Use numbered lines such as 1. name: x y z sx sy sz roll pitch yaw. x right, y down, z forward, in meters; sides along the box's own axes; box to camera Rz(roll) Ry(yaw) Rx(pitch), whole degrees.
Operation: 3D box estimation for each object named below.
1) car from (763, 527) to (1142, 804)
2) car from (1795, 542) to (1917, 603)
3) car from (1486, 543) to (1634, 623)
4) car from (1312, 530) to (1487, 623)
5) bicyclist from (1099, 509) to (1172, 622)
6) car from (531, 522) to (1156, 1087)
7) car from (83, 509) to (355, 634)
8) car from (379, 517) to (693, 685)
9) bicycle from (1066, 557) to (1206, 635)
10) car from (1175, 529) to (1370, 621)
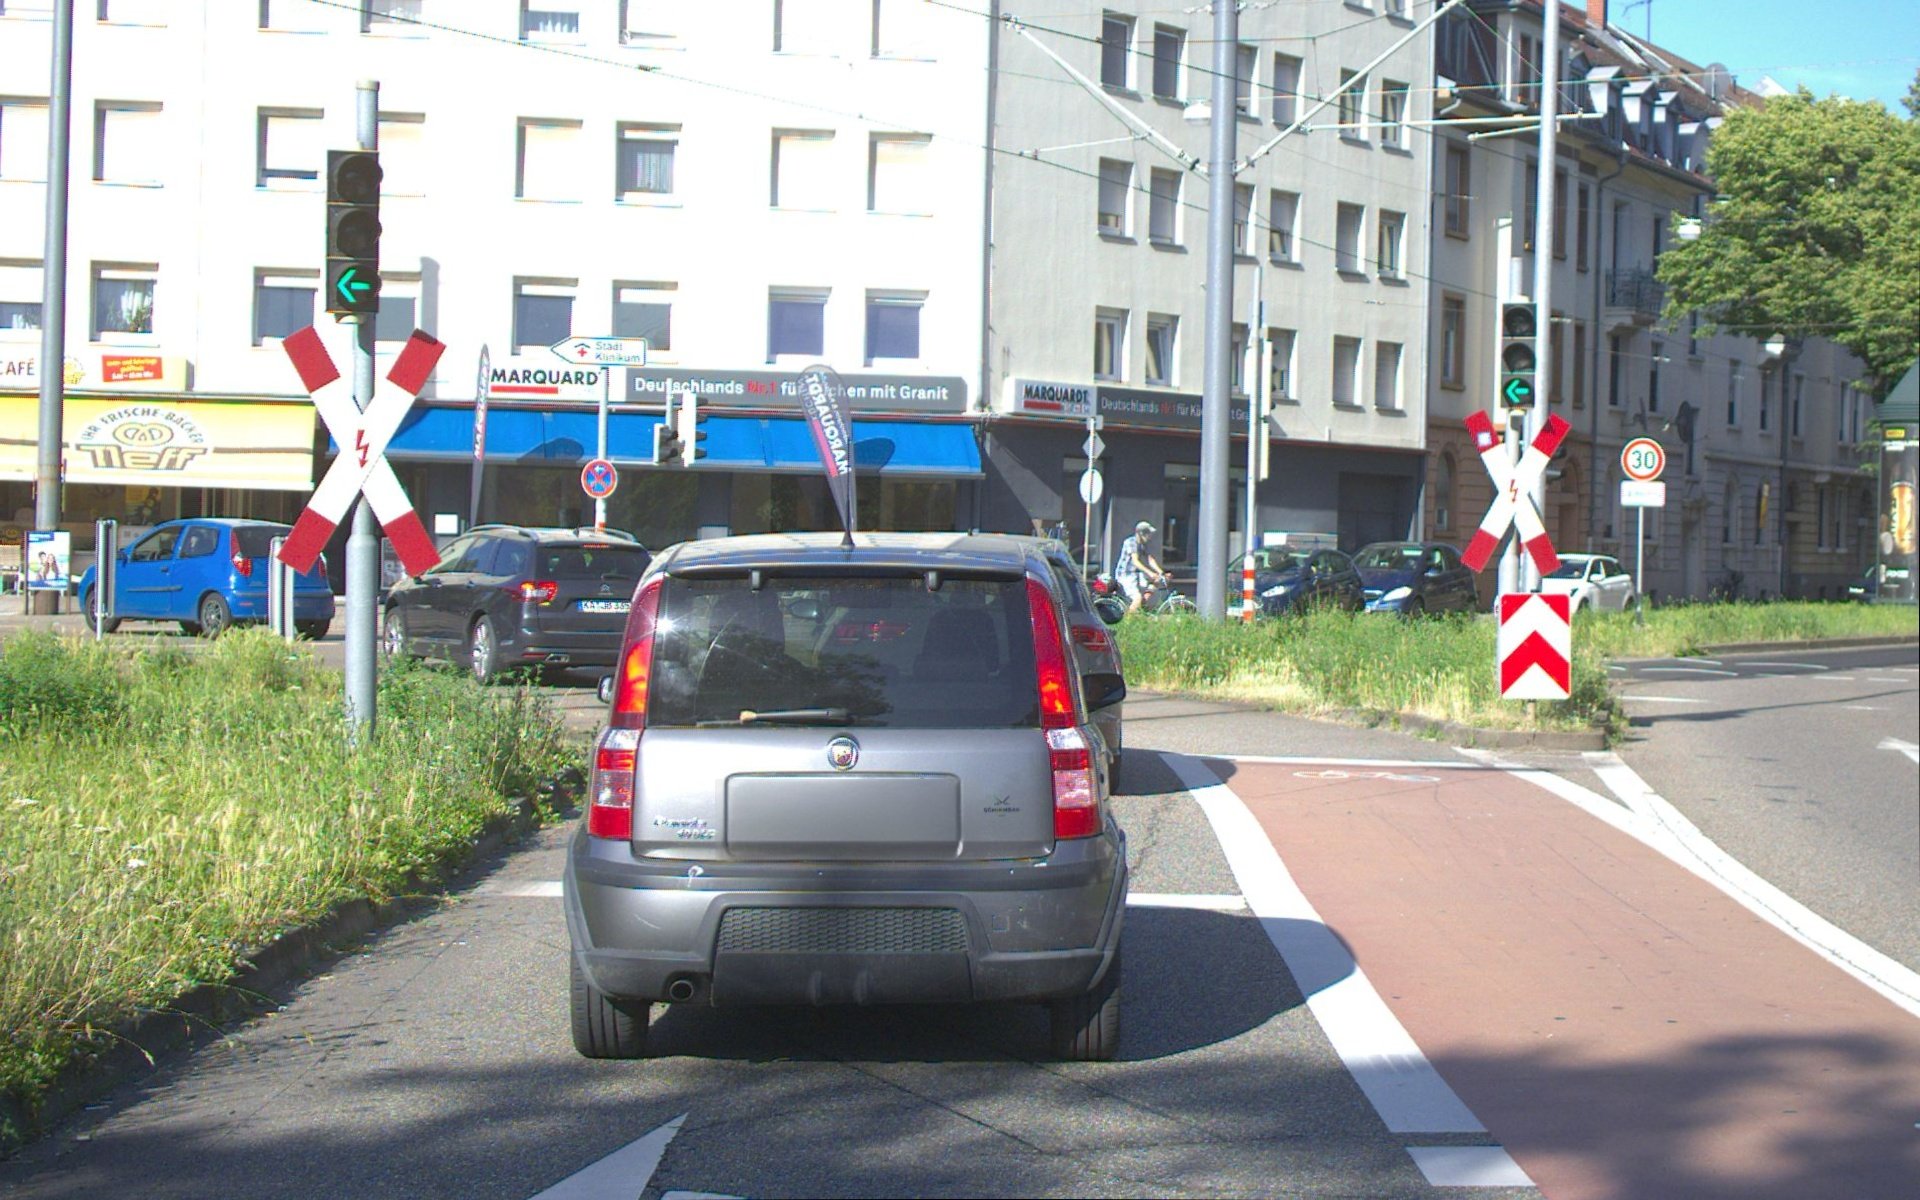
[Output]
1. car: -0.136 0.315 20.035 1.620 1.424 3.689 1 1 -9
2. car: 23.030 -0.698 88.311 1.997 1.468 3.993 2 1 30
3. car: 11.853 -0.341 67.768 1.793 1.477 3.526 2 1 29
4. car: 7.873 -0.423 61.350 1.793 1.560 3.760 2 1 29
5. bicyclist: 2.461 -0.484 48.170 0.822 1.553 0.561 2 1 26
6. car: -0.448 0.527 10.961 1.659 1.505 3.252 1 1 -5
7. car: -9.205 -0.362 42.577 3.394 1.433 1.647 3 2 44
8. car: -4.211 -0.029 33.530 1.759 1.481 4.294 1 1 -25
9. bicycle: 2.462 -0.067 48.171 1.854 1.029 0.588 2 1 25
10. car: 5.144 -0.409 56.170 1.793 1.391 3.719 2 1 29
